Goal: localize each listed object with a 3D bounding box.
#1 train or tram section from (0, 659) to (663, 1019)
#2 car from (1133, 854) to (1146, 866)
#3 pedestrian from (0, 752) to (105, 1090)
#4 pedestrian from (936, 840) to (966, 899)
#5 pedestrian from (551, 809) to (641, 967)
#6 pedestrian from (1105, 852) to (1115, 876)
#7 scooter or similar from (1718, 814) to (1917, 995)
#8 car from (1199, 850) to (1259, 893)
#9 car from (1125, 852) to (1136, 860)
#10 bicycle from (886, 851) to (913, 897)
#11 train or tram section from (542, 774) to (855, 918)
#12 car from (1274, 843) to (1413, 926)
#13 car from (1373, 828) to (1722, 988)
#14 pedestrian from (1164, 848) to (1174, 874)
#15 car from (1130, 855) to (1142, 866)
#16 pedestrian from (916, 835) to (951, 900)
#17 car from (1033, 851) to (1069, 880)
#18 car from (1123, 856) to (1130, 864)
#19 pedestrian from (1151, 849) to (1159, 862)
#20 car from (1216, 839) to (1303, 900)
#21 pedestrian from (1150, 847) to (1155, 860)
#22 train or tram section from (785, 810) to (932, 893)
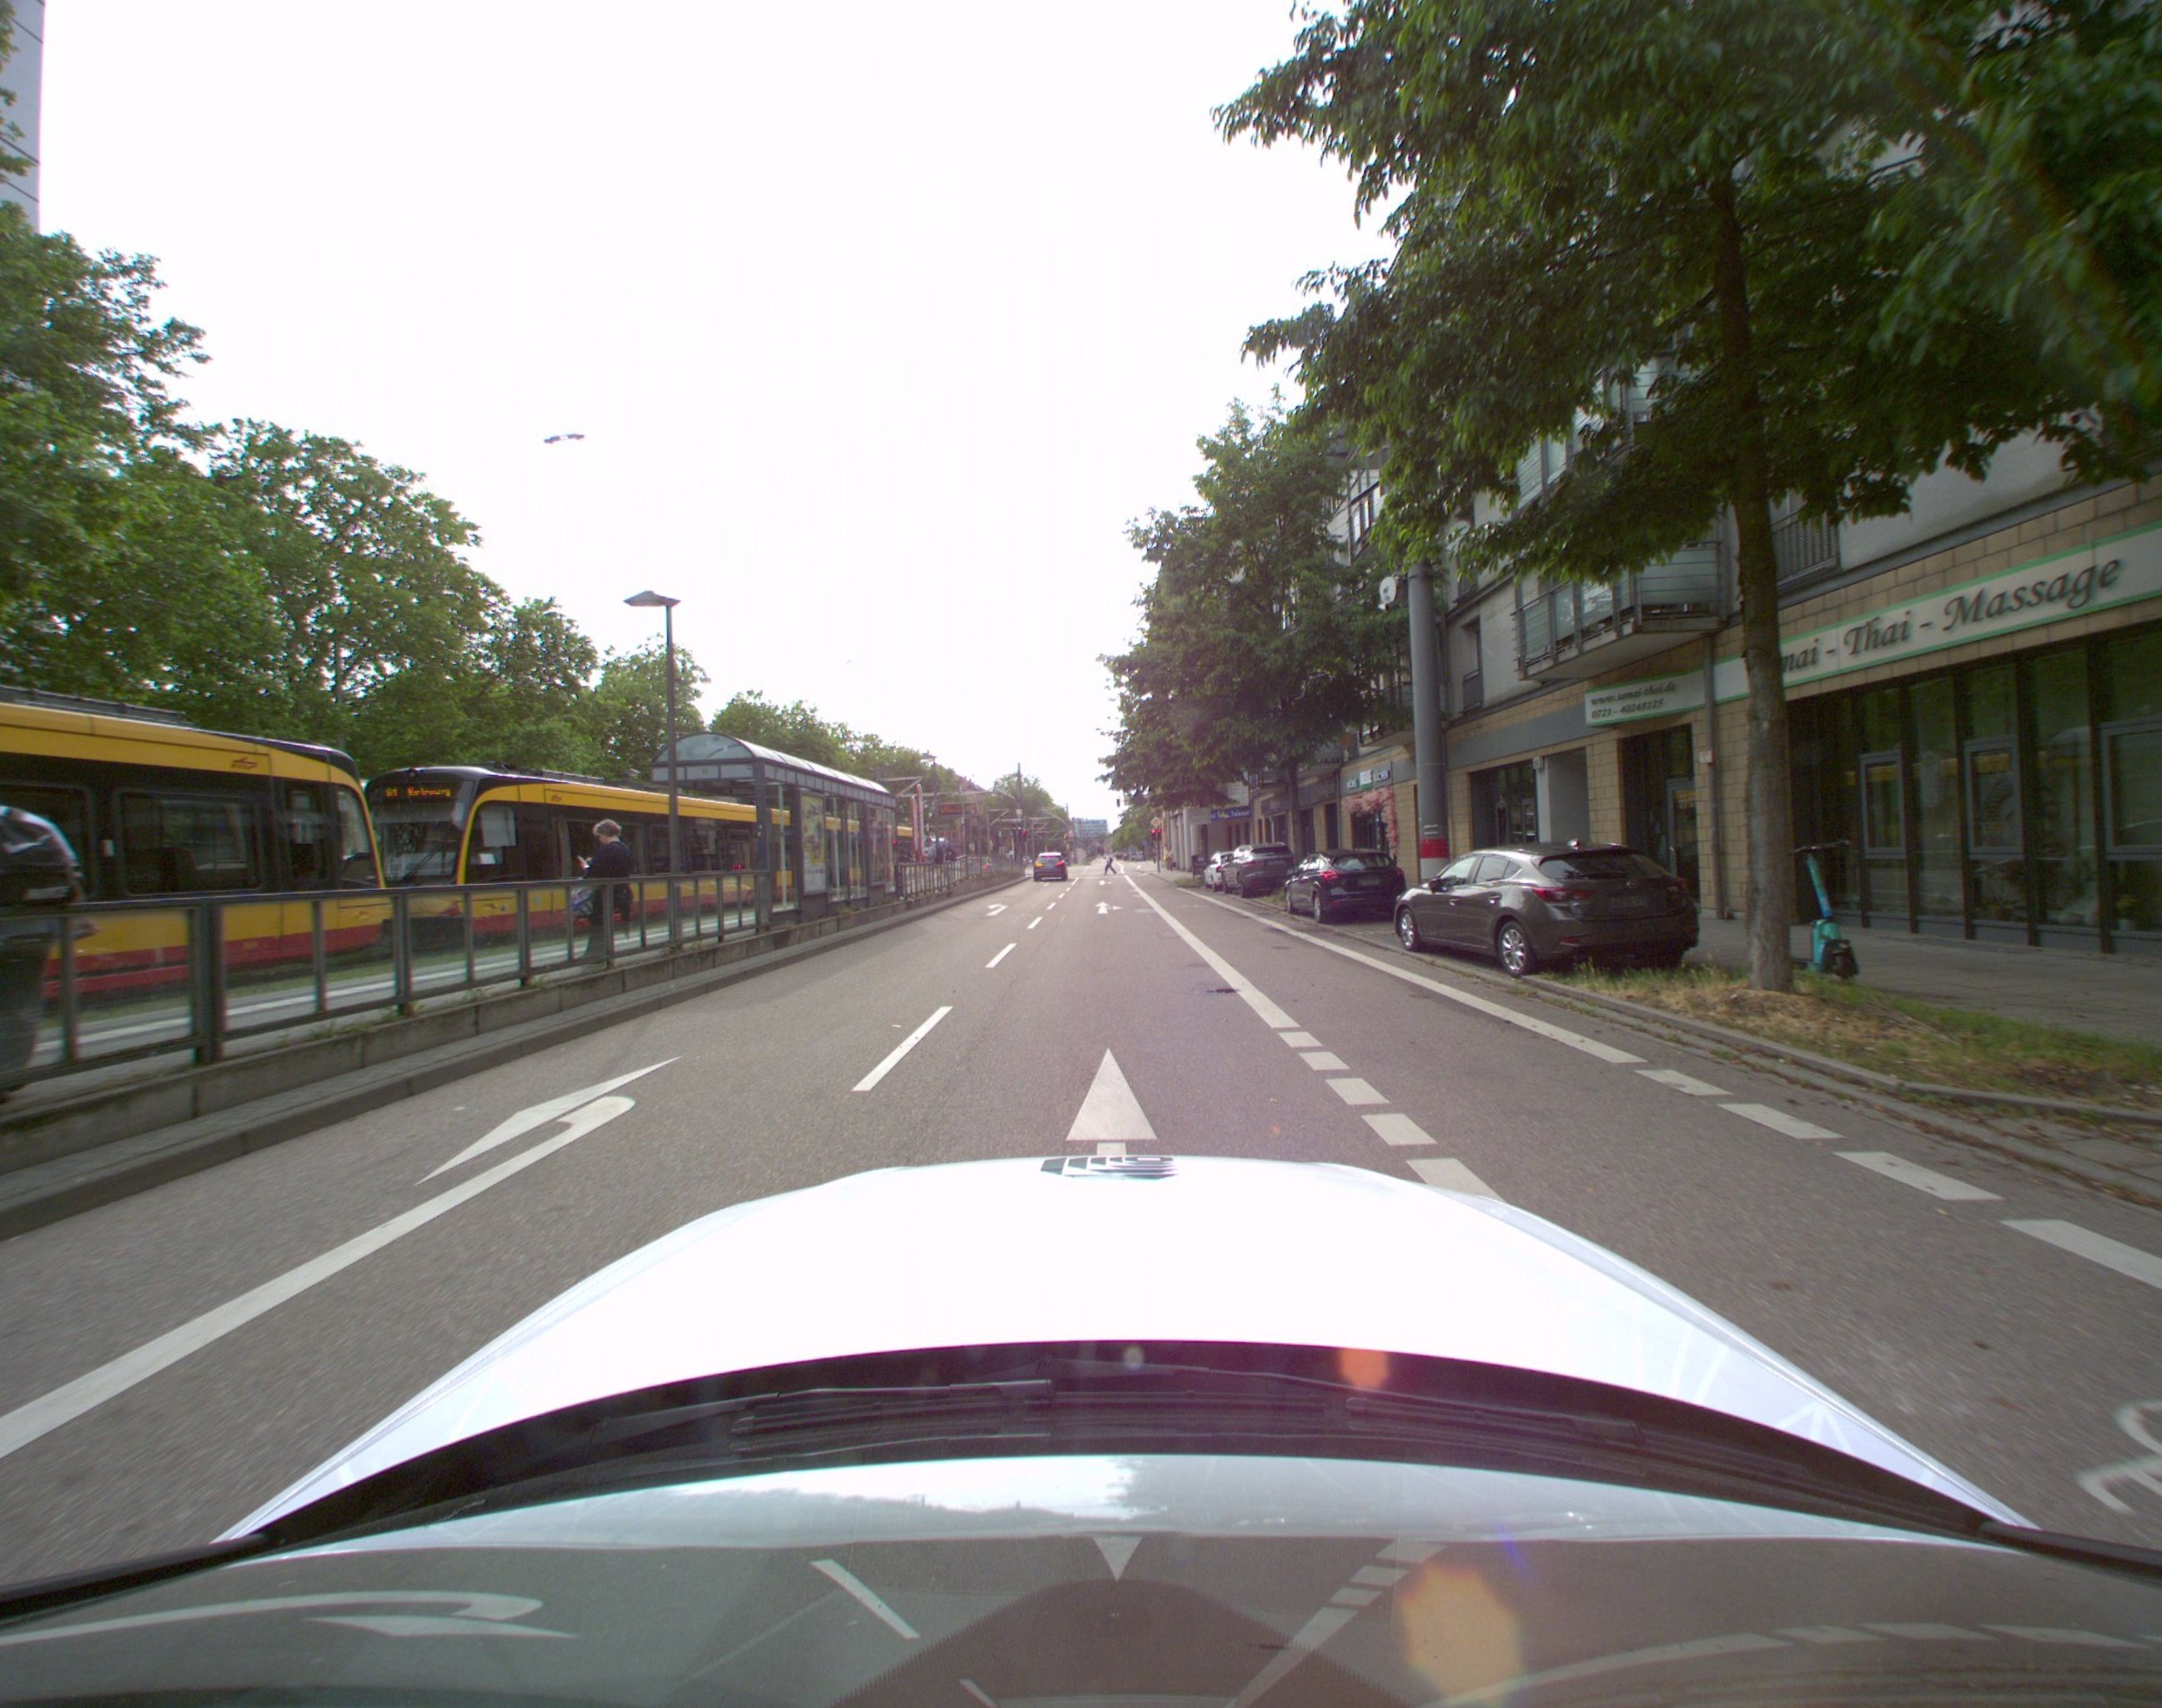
[{"bbox_3d":[-11.999,-0.100,12.388,3.048,3.532,15.299,0,0,2],"label":"train or tram section"},{"bbox_3d":[9.940,1.026,137.527,1.986,2.014,4.001,0,-1,1],"label":"car"},{"bbox_3d":[-5.454,0.326,4.149,0.477,1.633,0.392,0,-1,2],"label":"pedestrian"},{"bbox_3d":[-4.540,0.529,28.486,0.758,2.014,0.809,0,-1,-36],"label":"pedestrian"},{"bbox_3d":[-5.221,0.352,8.806,0.510,1.633,0.730,0,-1,3],"label":"pedestrian"},{"bbox_3d":[2.019,0.711,56.810,0.725,1.661,0.756,0,-1,1],"label":"pedestrian"},{"bbox_3d":[6.566,0.416,7.352,0.513,1.454,1.342,-4,-1,2],"label":"scooter or similar"},{"bbox_3d":[5.814,0.659,32.464,1.669,1.499,4.393,-4,-1,3],"label":"car"},{"bbox_3d":[10.684,0.384,175.791,1.986,1.607,4.165,-3,-1,1],"label":"car"},{"bbox_3d":[-4.975,0.537,22.359,0.417,1.222,1.290,0,-1,1],"label":"bicycle"},{"bbox_3d":[-11.555,-0.141,27.701,3.048,3.532,15.299,0,0,2],"label":"train or tram section"},{"bbox_3d":[5.457,0.594,17.551,1.669,1.442,4.410,-4,-1,3],"label":"car"},{"bbox_3d":[5.443,0.563,10.315,1.792,1.455,4.387,-4,-1,-1],"label":"car"},{"bbox_3d":[6.130,0.482,56.679,0.613,1.805,0.738,-2,-1,3],"label":"pedestrian"},{"bbox_3d":[9.925,1.212,146.965,1.986,2.014,4.001,0,-1,1],"label":"car"},{"bbox_3d":[-4.661,0.438,25.755,0.746,2.014,0.823,-1,-1,24],"label":"pedestrian"},{"bbox_3d":[-1.749,0.670,48.306,1.873,1.601,4.357,-1,0,1],"label":"car"},{"bbox_3d":[12.250,1.671,219.730,1.986,2.014,4.001,0,-1,1],"label":"car"},{"bbox_3d":[8.857,0.186,97.641,0.848,1.654,0.508,0,-1,-1],"label":"pedestrian"},{"bbox_3d":[5.773,0.492,26.911,1.706,1.717,4.711,-4,-1,0],"label":"car"},{"bbox_3d":[8.801,-0.092,99.928,0.544,1.537,0.465,0,-1,-3],"label":"pedestrian"},{"bbox_3d":[-11.116,-0.047,43.249,3.048,3.588,15.853,0,0,2],"label":"train or tram section"}]
